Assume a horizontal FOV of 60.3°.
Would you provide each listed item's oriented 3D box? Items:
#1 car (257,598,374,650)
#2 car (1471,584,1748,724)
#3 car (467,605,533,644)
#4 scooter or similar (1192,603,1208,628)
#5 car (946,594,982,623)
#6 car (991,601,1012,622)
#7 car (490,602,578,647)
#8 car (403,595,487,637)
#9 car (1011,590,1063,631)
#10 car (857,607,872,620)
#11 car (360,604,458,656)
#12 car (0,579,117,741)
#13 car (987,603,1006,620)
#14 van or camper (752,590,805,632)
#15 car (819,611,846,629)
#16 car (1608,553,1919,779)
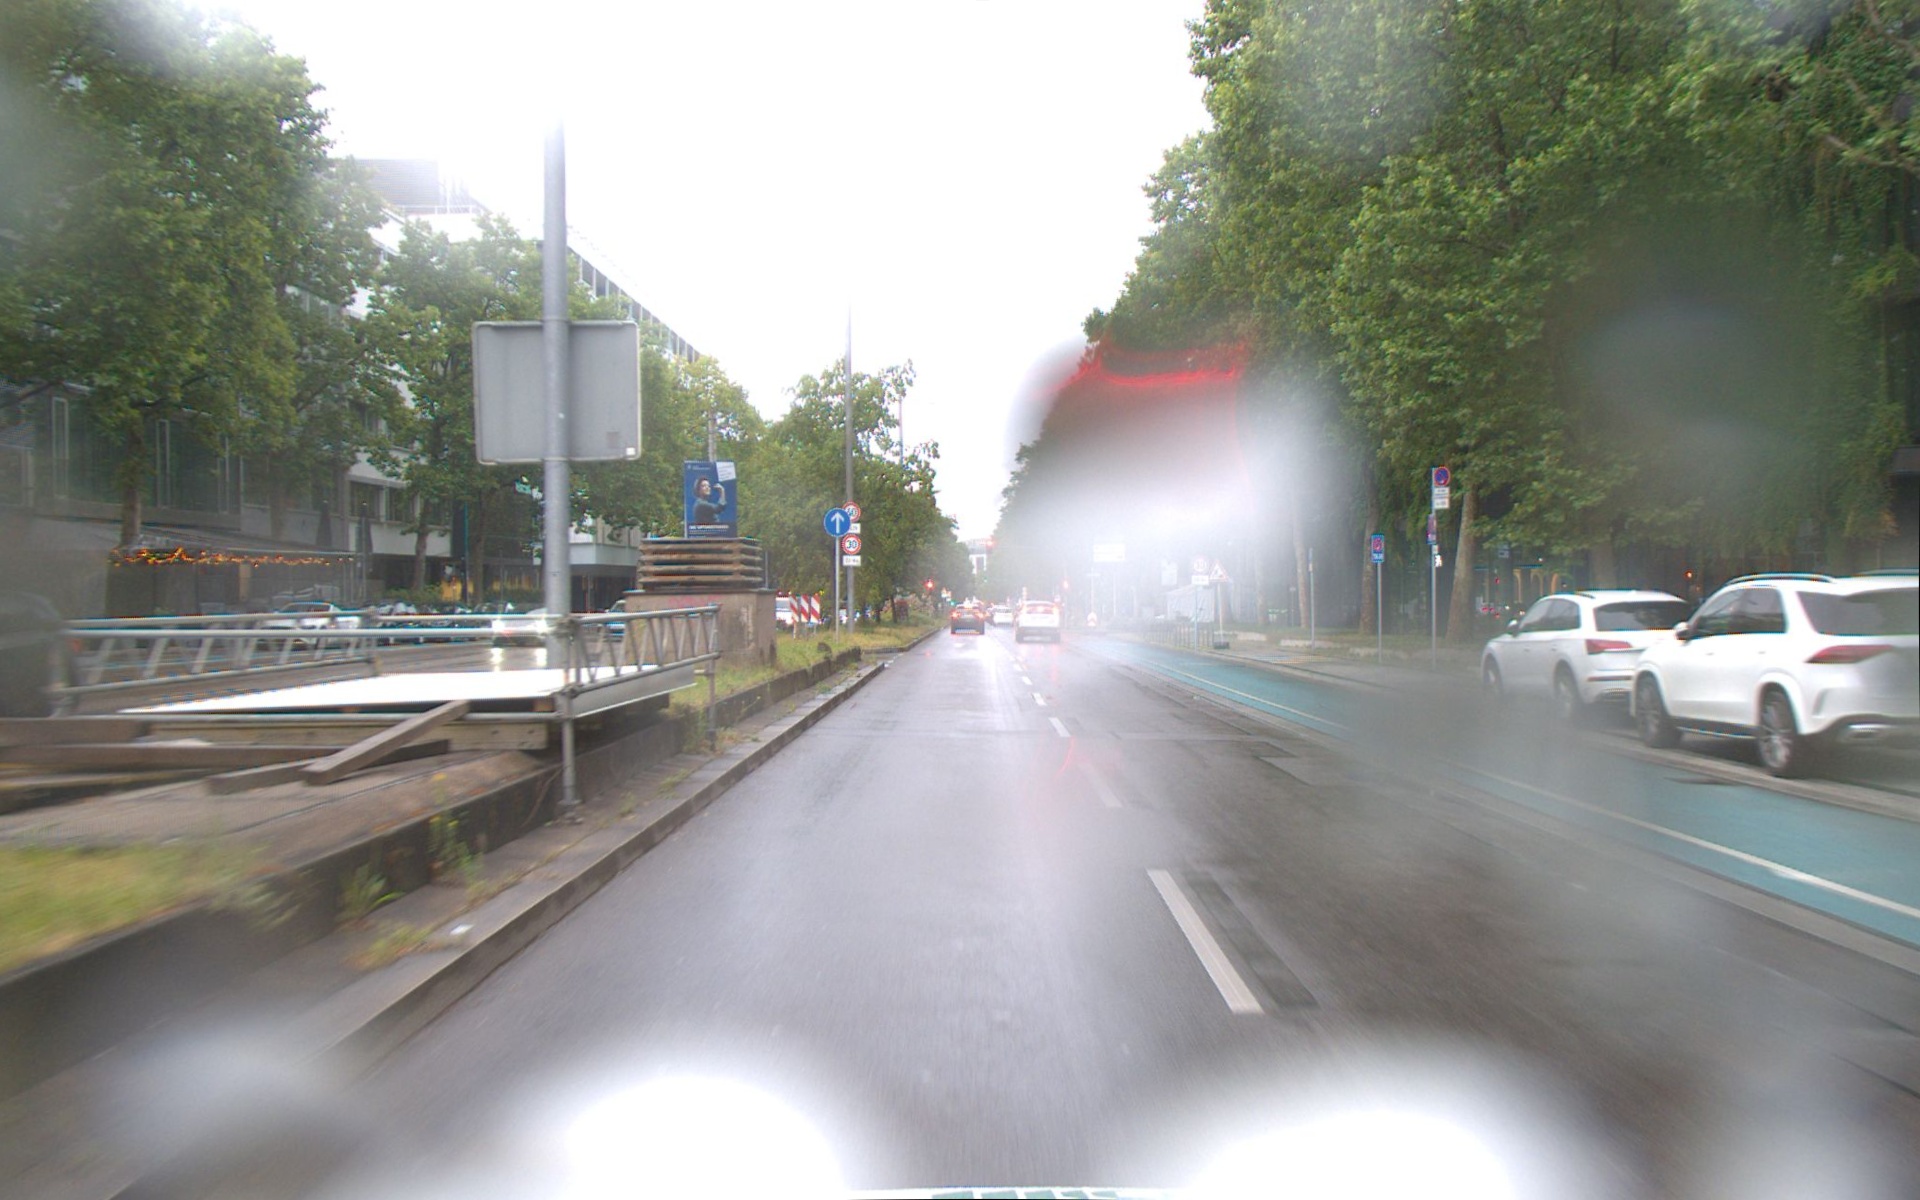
[{"bbox_3d":[-18.719,0.655,48.230,1.527,1.377,4.683,1,1,0],"label":"car"},{"bbox_3d":[8.445,0.622,22.016,1.805,1.661,4.786,0,0,0],"label":"car"},{"bbox_3d":[-18.339,0.970,66.039,1.658,1.494,3.459,0,0,0],"label":"car"},{"bbox_3d":[12.211,0.780,84.137,0.374,1.249,1.075,0,0,36],"label":"scooter or similar"},{"bbox_3d":[0.218,0.455,89.173,1.879,1.517,4.000,0,0,0],"label":"car"},{"bbox_3d":[3.391,0.903,136.209,1.587,1.695,4.000,-1,0,0],"label":"car"},{"bbox_3d":[-14.428,0.791,56.256,1.927,1.434,4.954,0,0,-3],"label":"car"},{"bbox_3d":[-18.539,0.549,59.721,1.658,1.434,4.456,0,0,0],"label":"car"},{"bbox_3d":[3.224,0.423,69.801,1.953,1.684,4.888,0,0,0],"label":"car"},{"bbox_3d":[-11.340,1.589,195.977,1.581,1.418,3.597,0,0,0],"label":"car"},{"bbox_3d":[-17.596,0.930,52.975,1.799,1.534,4.000,0,0,0],"label":"car"},{"bbox_3d":[-10.328,0.586,16.018,1.874,1.579,4.543,0,0,2],"label":"car"},{"bbox_3d":[3.235,1.018,148.124,1.587,1.398,4.000,0,0,0],"label":"car"},{"bbox_3d":[-8.552,0.489,78.309,1.953,1.947,5.251,0,0,0],"label":"van or camper"},{"bbox_3d":[-10.149,1.609,131.953,1.805,1.454,3.642,0,-1,0],"label":"car"},{"bbox_3d":[8.232,0.524,16.331,1.805,1.870,5.095,-1,0,2],"label":"car"}]
